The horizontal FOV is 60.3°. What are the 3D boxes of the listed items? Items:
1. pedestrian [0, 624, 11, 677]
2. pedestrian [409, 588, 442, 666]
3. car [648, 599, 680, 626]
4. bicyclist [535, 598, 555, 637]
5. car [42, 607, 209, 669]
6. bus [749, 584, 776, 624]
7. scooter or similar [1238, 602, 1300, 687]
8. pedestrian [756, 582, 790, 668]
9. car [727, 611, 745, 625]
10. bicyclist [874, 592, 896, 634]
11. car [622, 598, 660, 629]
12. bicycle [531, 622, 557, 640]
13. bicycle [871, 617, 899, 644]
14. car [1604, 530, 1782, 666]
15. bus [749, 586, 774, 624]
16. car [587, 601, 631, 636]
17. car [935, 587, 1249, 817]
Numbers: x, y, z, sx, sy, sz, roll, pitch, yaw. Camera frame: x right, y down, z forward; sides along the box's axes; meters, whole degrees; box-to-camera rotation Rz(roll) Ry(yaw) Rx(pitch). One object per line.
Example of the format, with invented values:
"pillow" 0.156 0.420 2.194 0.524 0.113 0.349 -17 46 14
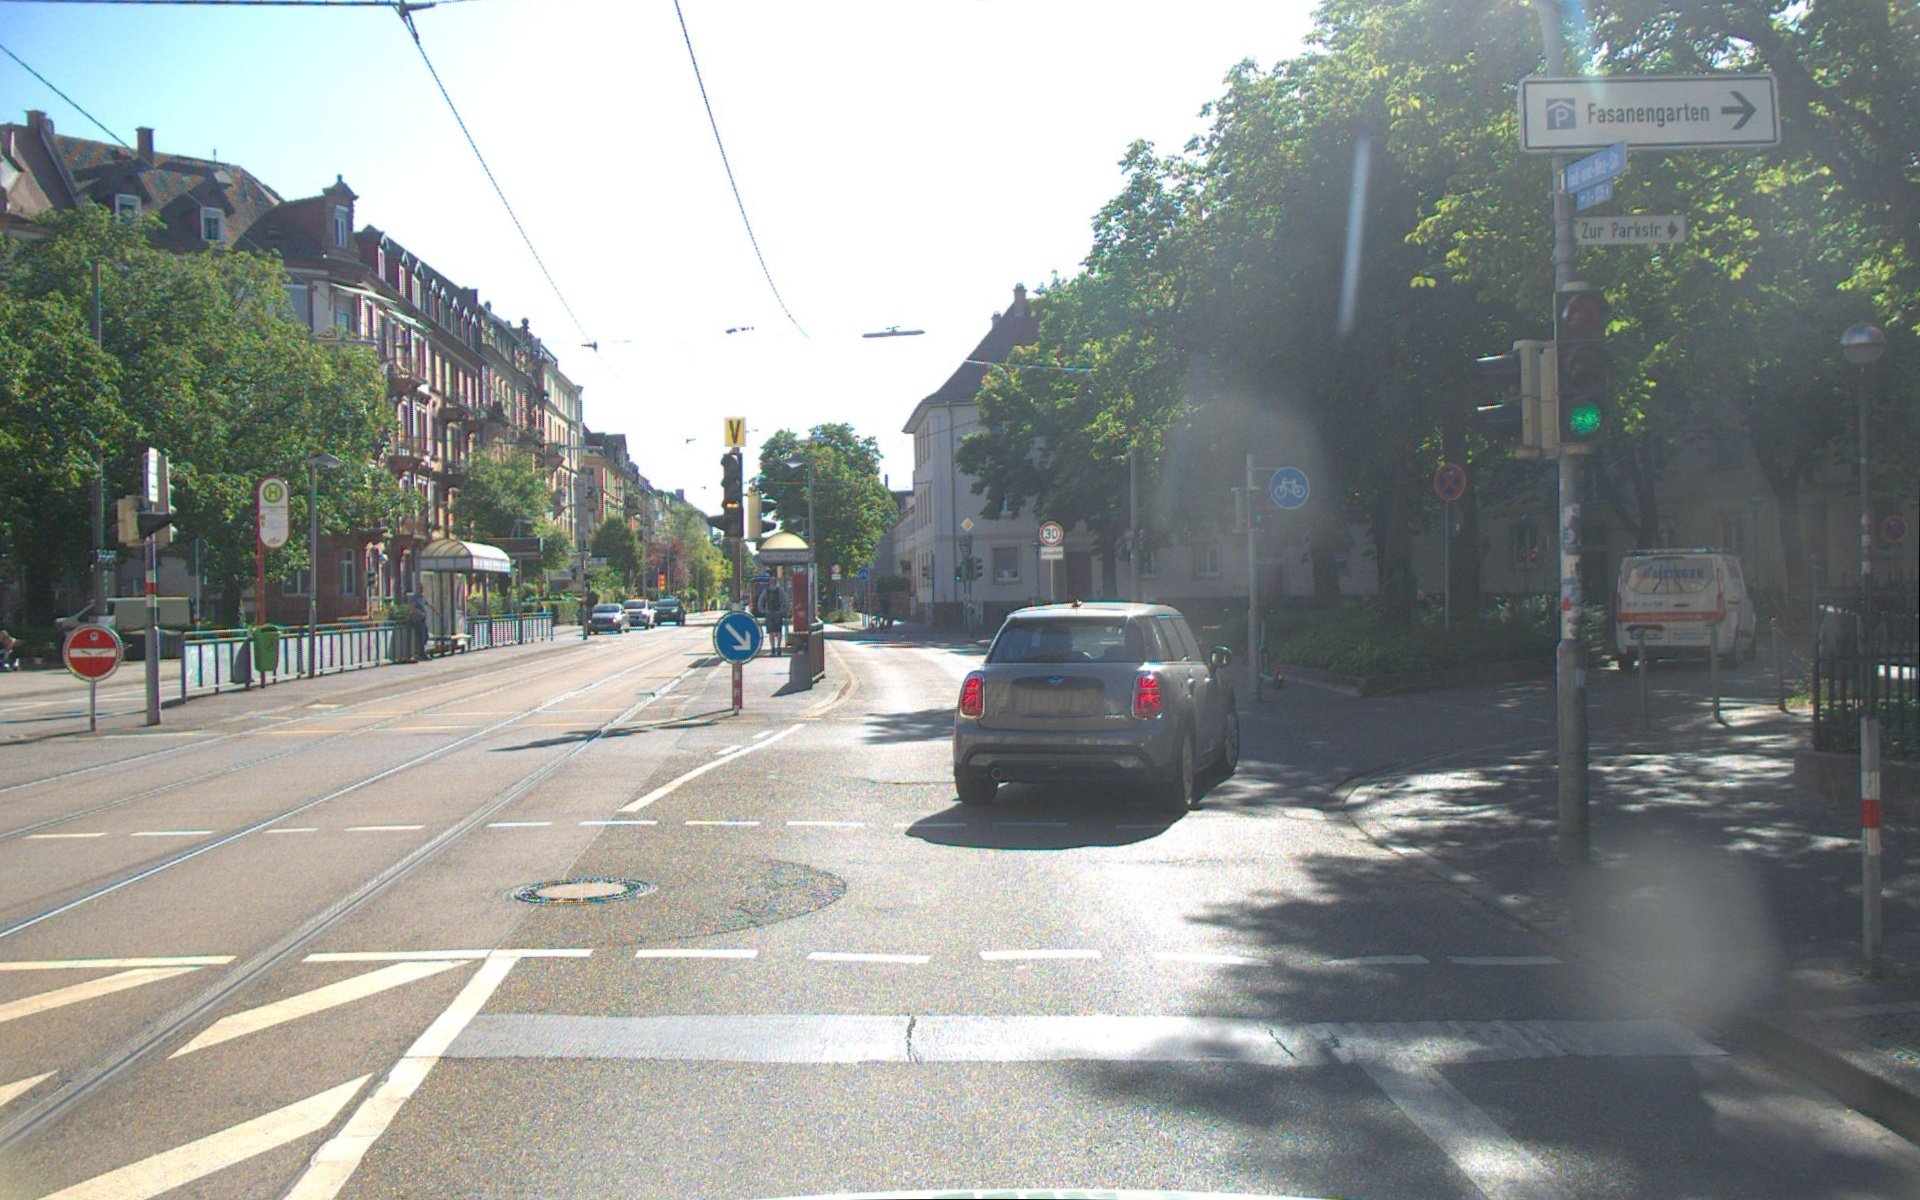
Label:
"pedestrian" -22.229 1.169 38.123 0.572 1.222 0.601 -2 0 -33
"pedestrian" -12.669 0.640 39.244 0.594 1.826 0.578 -2 0 -7
"car" -18.617 0.777 104.244 1.742 1.646 3.993 0 -1 -7
"bicyclist" -18.560 0.778 73.958 0.699 1.694 0.734 0 -1 -2
"car" -29.016 1.283 57.580 4.972 2.049 1.975 0 -1 -36
"bus" -18.113 0.433 151.582 2.340 3.558 7.370 0 -1 -8
"scooter or similar" 5.009 0.710 26.907 0.663 1.333 1.327 0 -1 -4
"pedestrian" -4.485 0.592 39.636 0.780 2.049 0.739 0 -1 -5
"car" -25.987 2.119 192.137 1.955 1.624 3.994 0 -1 -6
"bicyclist" -3.383 0.583 74.388 0.803 1.843 1.055 0 -1 -13
"car" -17.381 0.752 90.169 1.742 1.646 3.993 0 -1 -7
"bicycle" -18.568 1.383 73.841 0.704 0.763 1.915 0 -1 -2
"bicycle" -3.383 1.363 74.373 0.827 1.176 2.530 0 -1 -13
"car" 13.302 -0.005 29.844 2.081 2.247 4.928 -1 -1 34
"bus" -19.104 0.490 158.919 2.340 3.558 7.370 0 -1 -8
"car" -16.969 0.890 80.124 1.742 1.646 3.993 0 -1 -7
"car" 1.200 0.698 13.041 1.777 1.514 4.003 -1 -1 15
